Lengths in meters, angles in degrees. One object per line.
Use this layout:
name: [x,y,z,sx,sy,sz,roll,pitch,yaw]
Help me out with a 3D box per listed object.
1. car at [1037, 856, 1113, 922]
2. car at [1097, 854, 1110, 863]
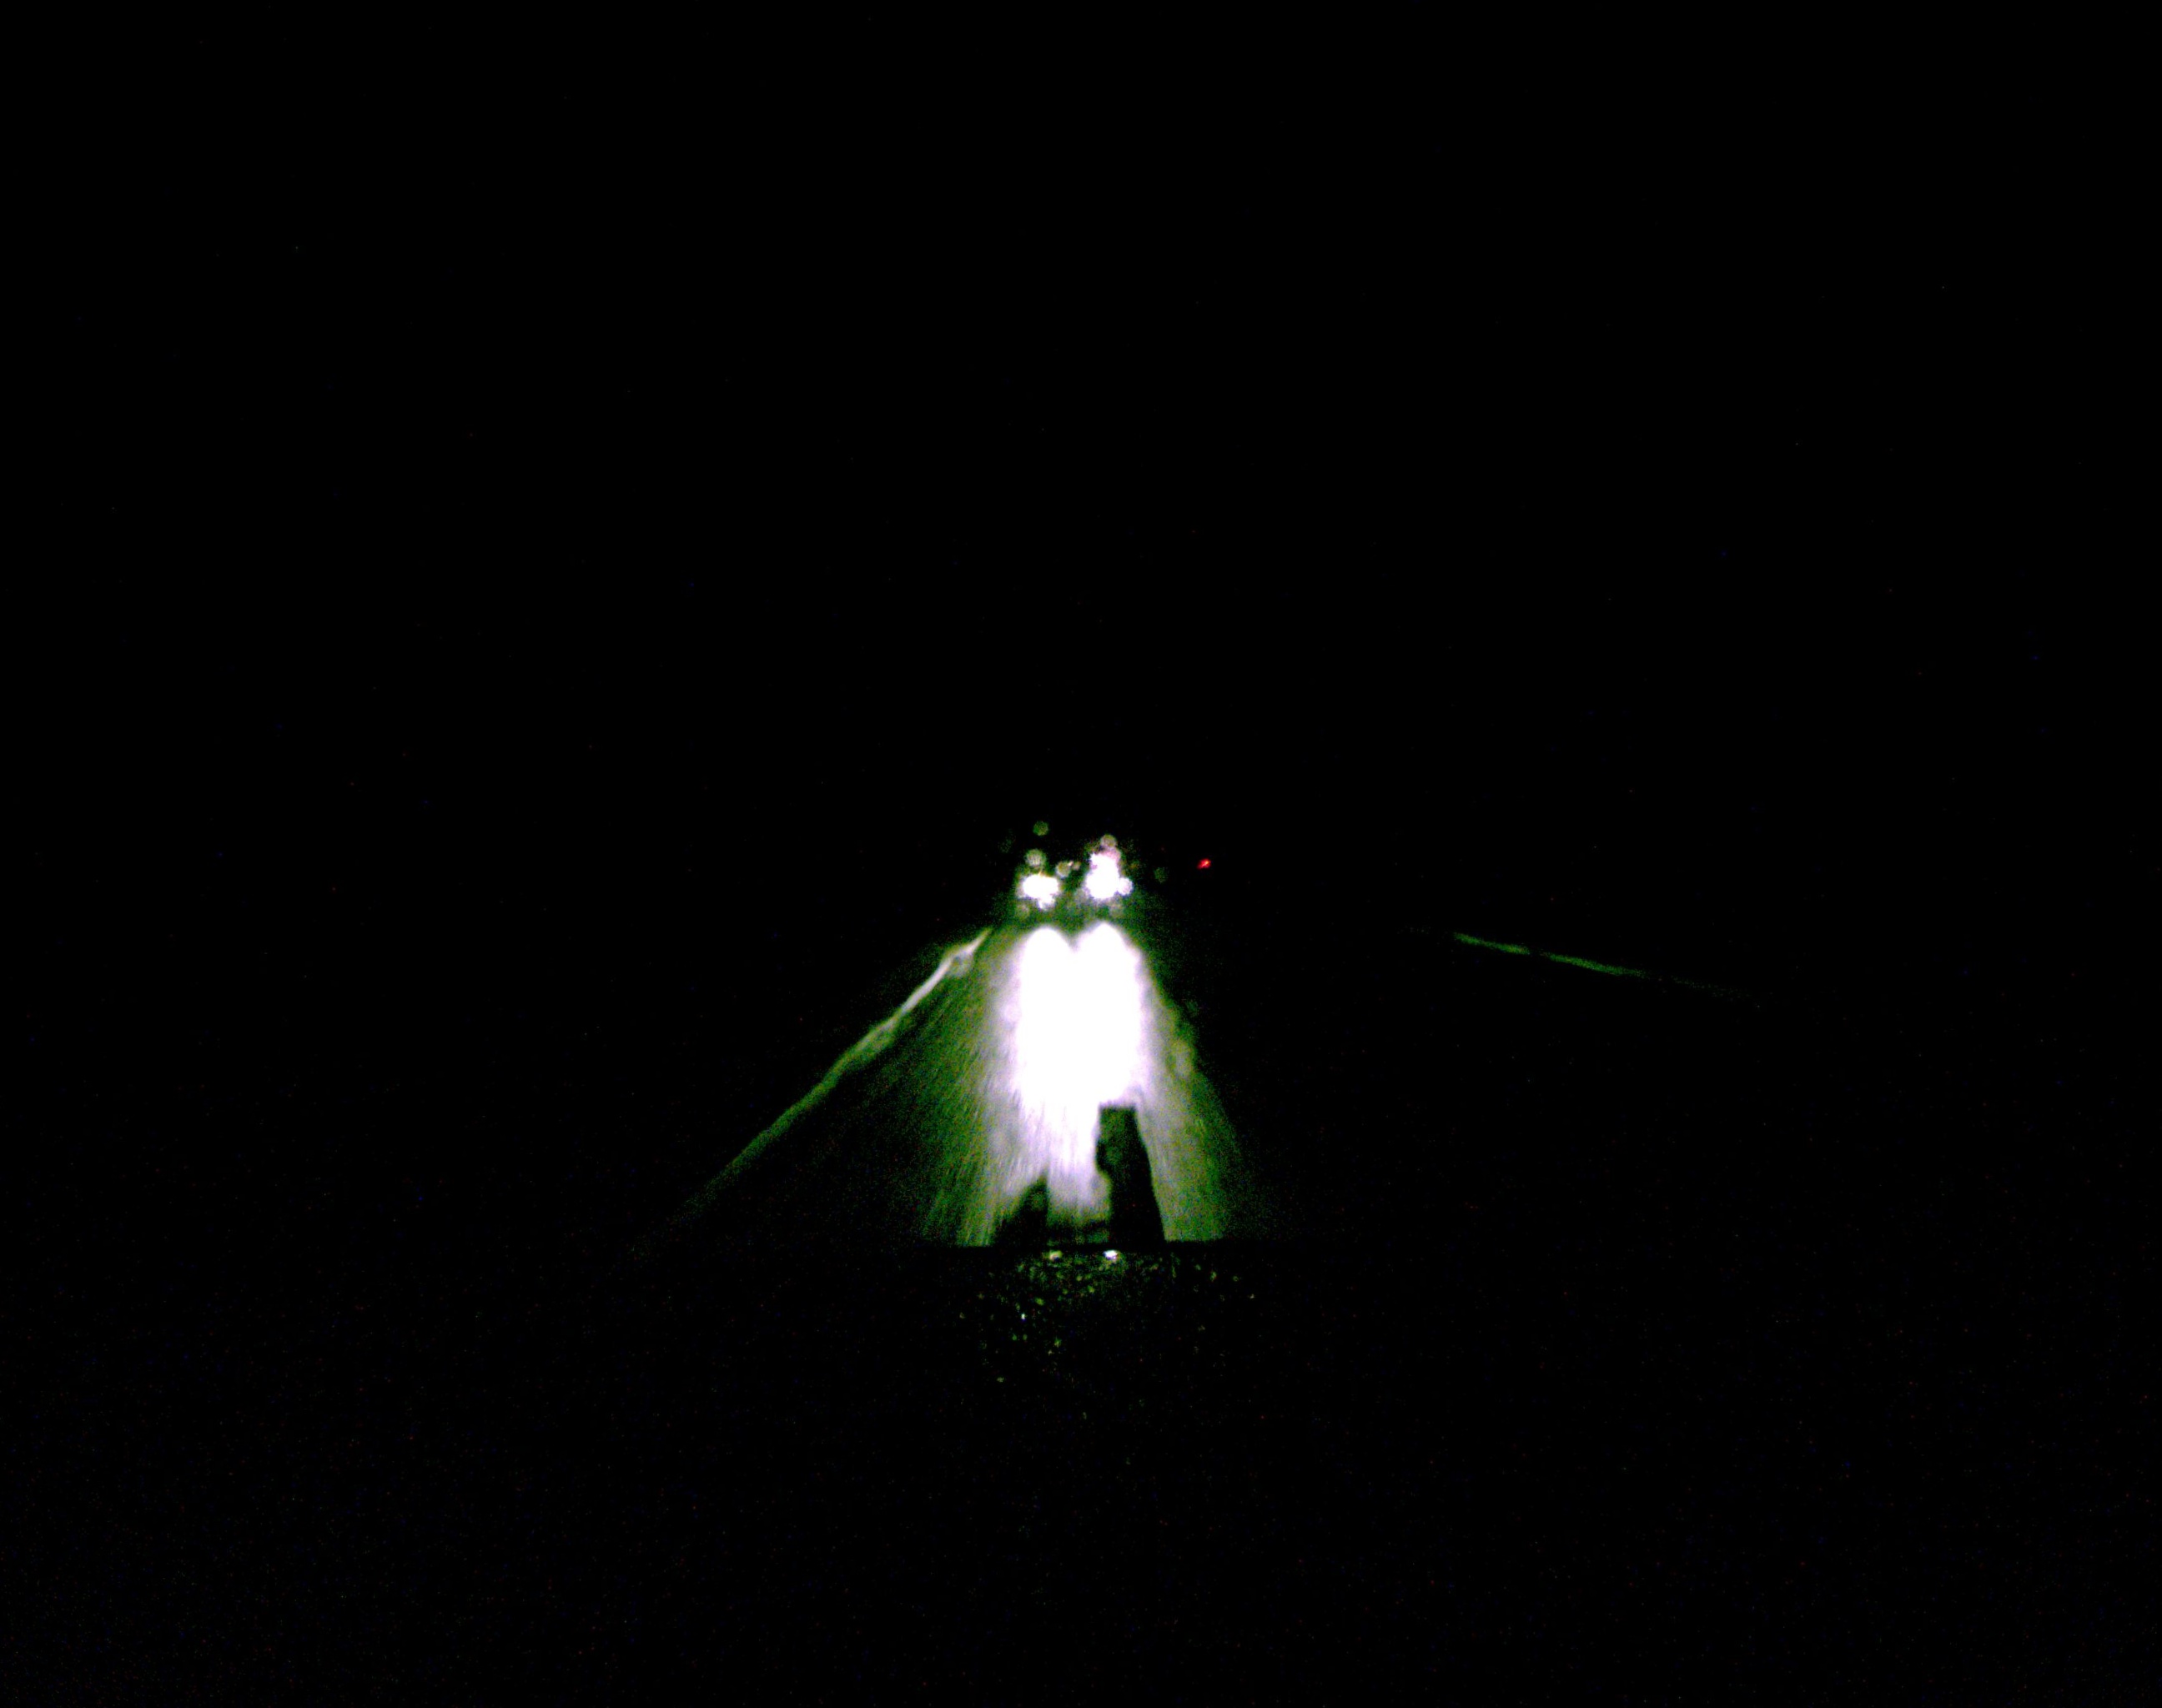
car: [-0.100,0.883,21.046,1.846,1.565,4.000,-2,1,1]
car: [3.753,0.740,128.749,1.909,1.461,4.274,-3,0,-2]
